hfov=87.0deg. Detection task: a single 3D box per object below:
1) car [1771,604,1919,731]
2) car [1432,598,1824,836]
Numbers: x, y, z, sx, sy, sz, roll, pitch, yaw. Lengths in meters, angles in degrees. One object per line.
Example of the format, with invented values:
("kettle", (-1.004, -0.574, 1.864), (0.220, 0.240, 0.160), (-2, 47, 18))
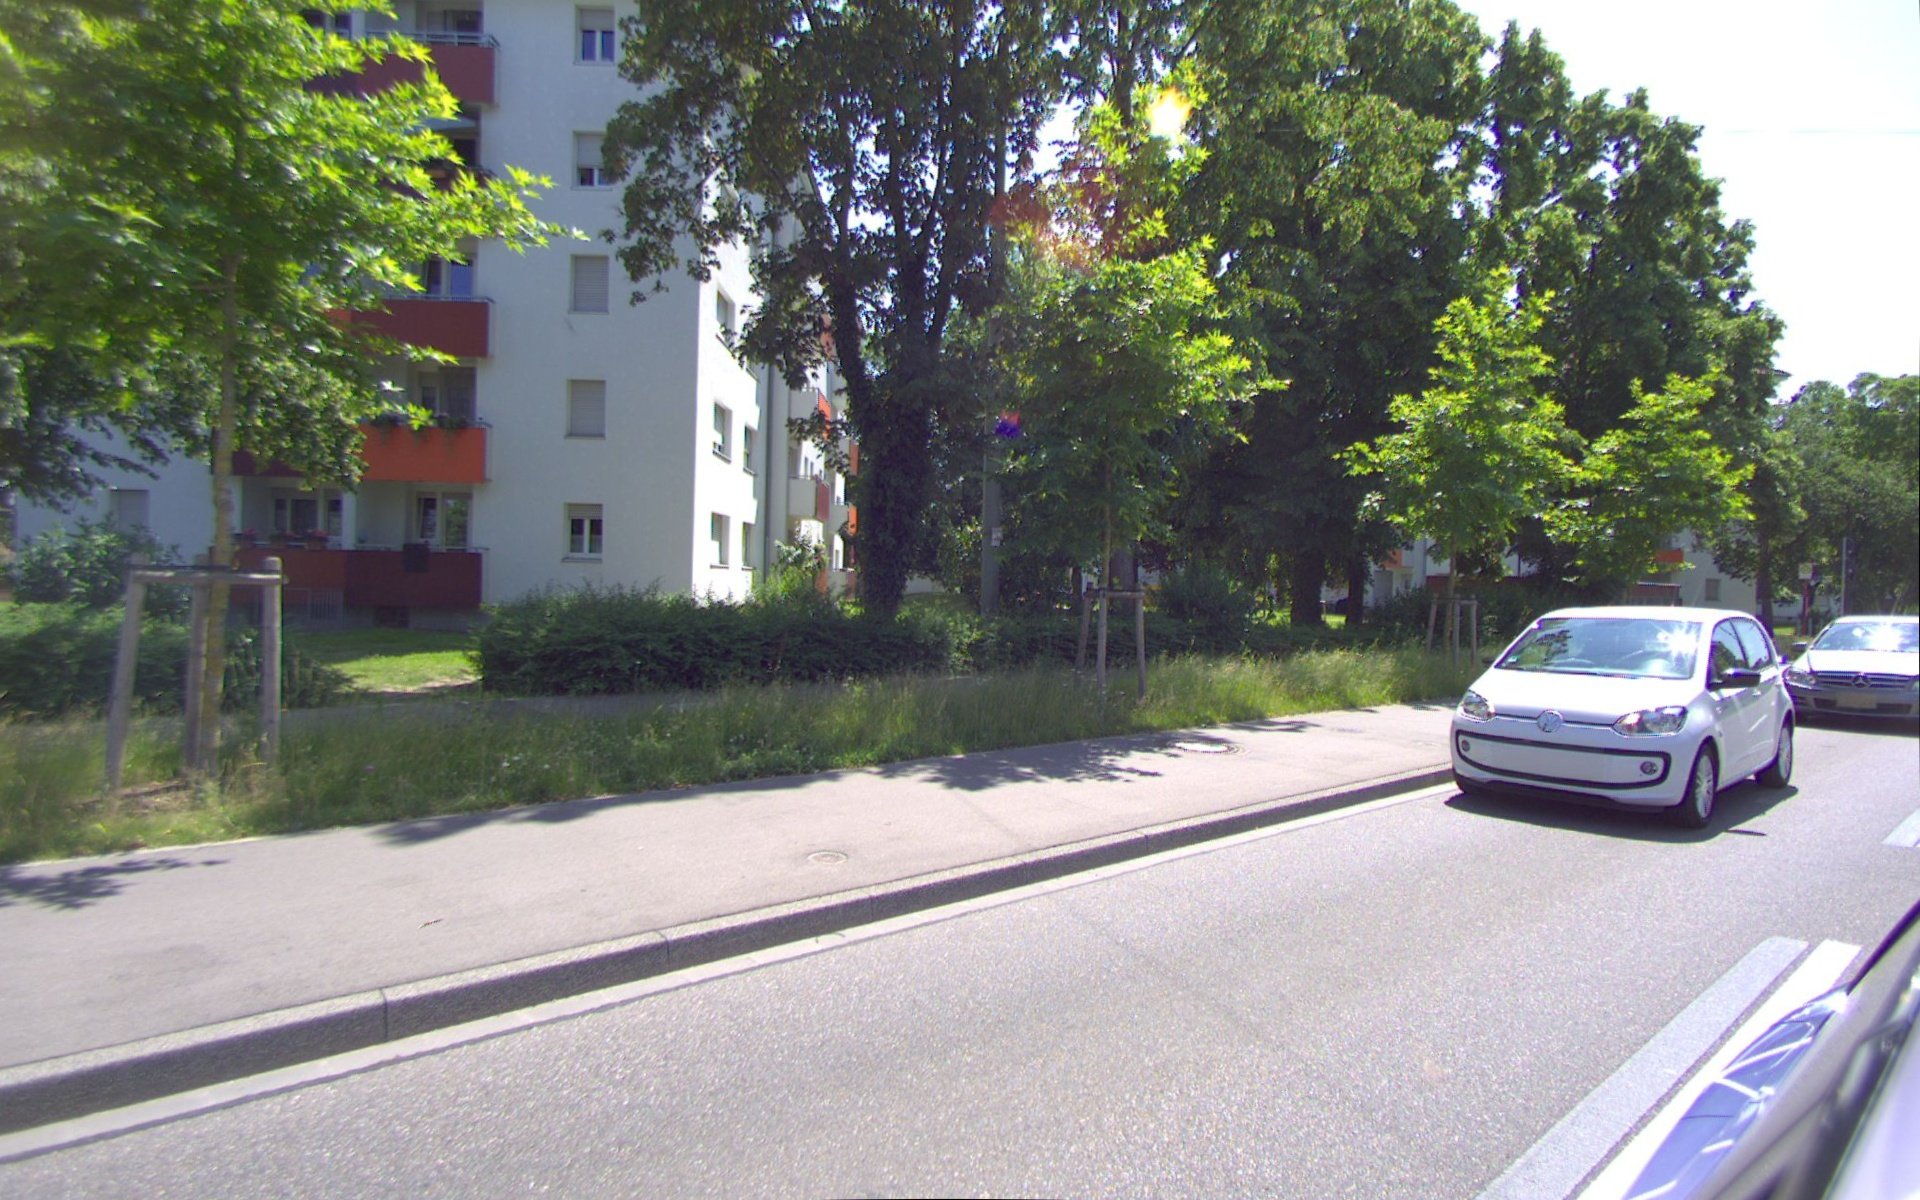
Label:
("car", (12.549, 0.804, 13.499), (3.899, 1.478, 1.903), (0, 0, -38))
("car", (5.511, 0.739, 8.176), (3.786, 1.468, 1.662), (1, 0, -40))
